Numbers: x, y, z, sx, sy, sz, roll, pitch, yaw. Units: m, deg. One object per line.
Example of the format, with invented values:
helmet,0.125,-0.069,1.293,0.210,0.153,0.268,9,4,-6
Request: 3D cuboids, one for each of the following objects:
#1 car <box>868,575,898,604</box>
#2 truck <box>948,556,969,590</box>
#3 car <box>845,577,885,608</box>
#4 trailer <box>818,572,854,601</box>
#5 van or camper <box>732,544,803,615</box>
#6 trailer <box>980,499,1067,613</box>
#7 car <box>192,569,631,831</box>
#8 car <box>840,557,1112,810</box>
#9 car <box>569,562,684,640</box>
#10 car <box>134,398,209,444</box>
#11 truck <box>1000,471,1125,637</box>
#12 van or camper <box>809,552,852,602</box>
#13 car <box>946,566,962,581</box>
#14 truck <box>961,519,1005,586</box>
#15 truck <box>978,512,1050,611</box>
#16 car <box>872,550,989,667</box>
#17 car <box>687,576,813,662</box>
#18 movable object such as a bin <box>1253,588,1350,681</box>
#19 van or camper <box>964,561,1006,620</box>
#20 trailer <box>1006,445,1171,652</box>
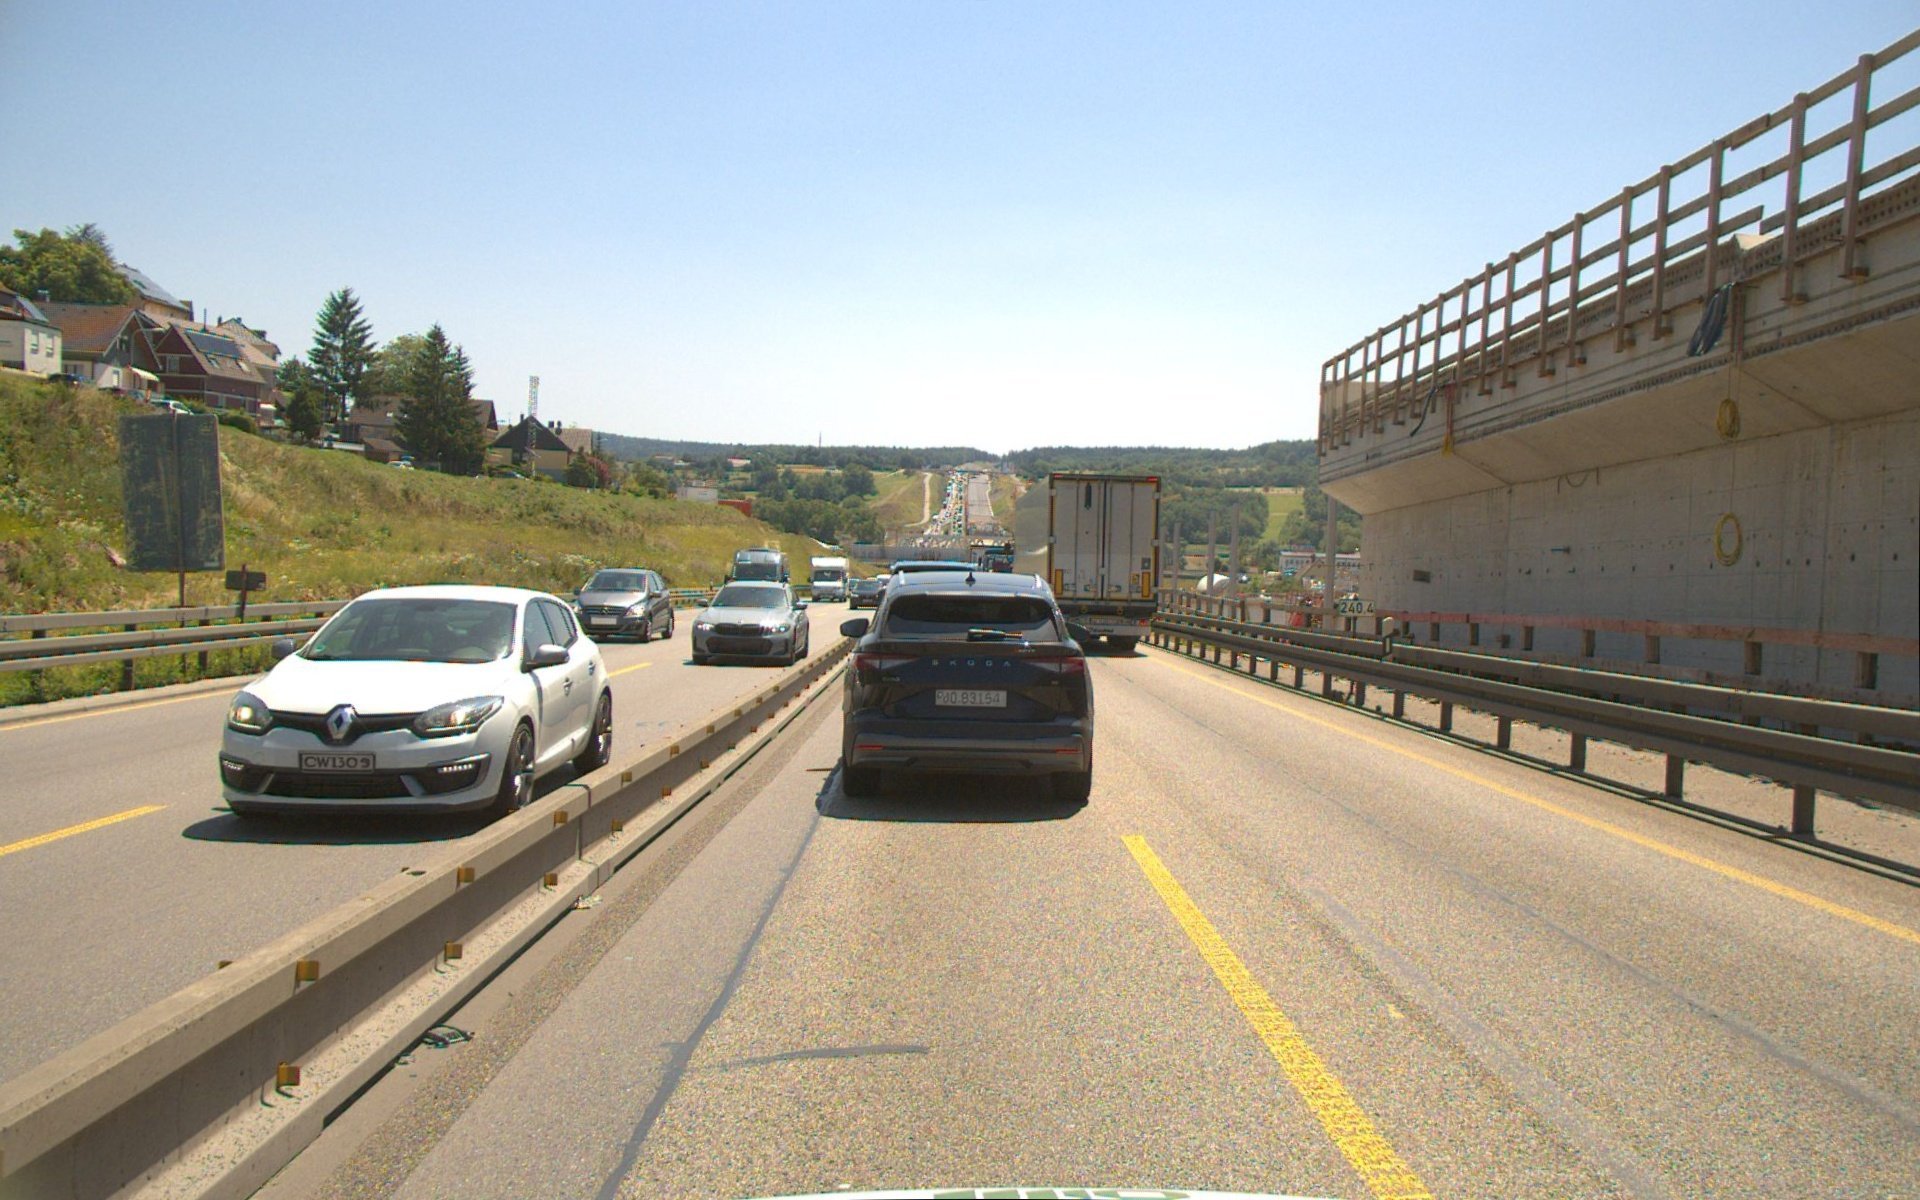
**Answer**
car,-5.076,-0.722,109.169,1.800,1.859,5.039,1,1,-1
truck,-0.270,-3.482,219.626,2.586,4.267,9.282,1,0,-1
car,-4.842,-0.398,84.921,1.805,1.501,4.834,1,1,-1
trailer,-8.434,-0.940,112.754,2.059,1.927,5.140,1,1,-1
van or camper,-7.647,-0.822,66.299,2.096,2.618,6.563,2,1,-1
trailer,2.680,-1.742,75.311,3.116,4.592,14.963,1,0,-1
car,-3.574,0.568,11.587,1.765,1.489,3.999,1,0,-1
car,0.107,0.548,12.903,1.765,1.635,4.000,1,0,0
car,-7.514,0.004,37.607,1.737,1.609,4.285,2,0,-1
car,-46.218,-10.482,97.082,2.301,2.077,4.814,1,0,-4
truck,2.963,-1.367,50.328,3.116,4.591,8.165,1,1,-1
van or camper,-8.342,-1.478,106.853,2.244,3.120,6.923,1,1,-1
car,-0.661,-3.026,191.134,1.776,1.629,4.573,1,1,0
truck,1.673,-3.474,124.854,2.794,4.543,11.914,1,0,-1
truck,2.594,-1.795,82.405,3.116,4.592,8.164,1,0,-1
car,-0.540,0.158,30.411,1.953,1.959,4.506,1,0,-1
car,-3.806,0.305,30.616,1.792,1.458,4.628,1,1,-1
movable object such as a bin,18.686,1.845,91.173,3.162,4.826,9.653,1,0,-1
van or camper,1.530,-0.517,98.633,2.339,3.338,6.469,1,-1,1
trailer,3.068,-1.282,43.789,3.116,4.591,13.107,1,1,-1
